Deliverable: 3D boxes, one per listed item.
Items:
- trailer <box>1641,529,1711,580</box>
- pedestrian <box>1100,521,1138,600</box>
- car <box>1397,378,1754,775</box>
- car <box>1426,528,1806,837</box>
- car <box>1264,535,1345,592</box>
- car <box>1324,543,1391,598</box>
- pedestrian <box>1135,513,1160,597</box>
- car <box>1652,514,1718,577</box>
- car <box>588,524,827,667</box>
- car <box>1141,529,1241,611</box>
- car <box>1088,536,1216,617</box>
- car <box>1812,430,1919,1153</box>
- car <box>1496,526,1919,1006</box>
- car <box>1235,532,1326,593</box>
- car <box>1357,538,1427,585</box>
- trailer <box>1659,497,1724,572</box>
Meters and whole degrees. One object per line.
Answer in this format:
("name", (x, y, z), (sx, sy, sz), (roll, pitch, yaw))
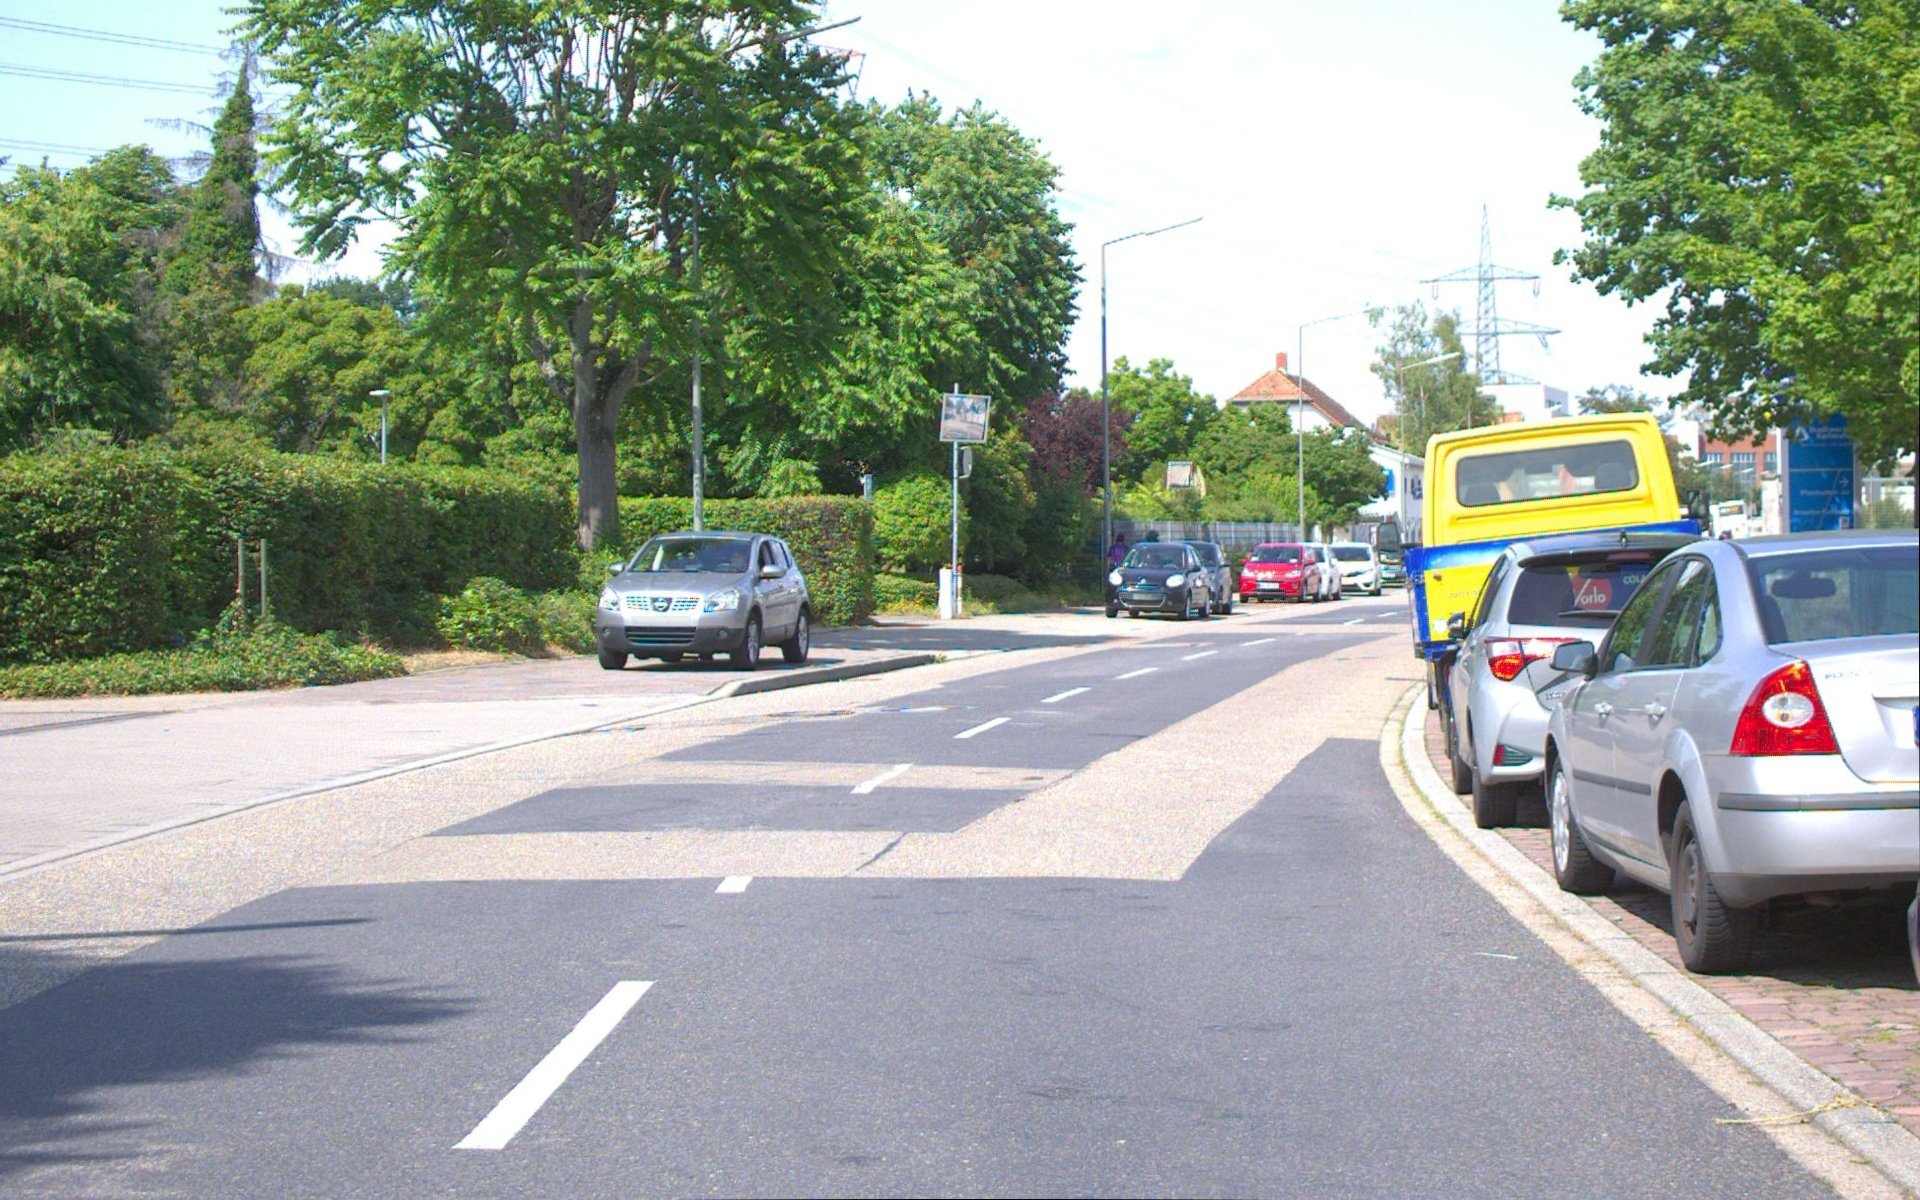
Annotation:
("trailer", (21.935, -1.377, 105.448), (1.749, 1.412, 4.548), (-3, 0, 8))
("pedestrian", (3.611, -0.894, 78.164), (0.708, 1.795, 0.915), (0, 0, 13))
("car", (4.323, -0.181, 25.072), (2.158, 2.456, 6.638), (-2, 0, 7))
("car", (3.512, 0.389, 19.012), (1.686, 1.489, 3.948), (-2, 1, 6))
("car", (9.066, -0.957, 90.327), (1.646, 1.472, 4.027), (0, 1, 13))
("car", (11.477, -0.869, 99.157), (1.621, 1.517, 4.174), (0, 1, 11))
("pedestrian", (4.265, -1.025, 78.254), (0.451, 1.887, 0.677), (0, 0, 13))
("car", (24.361, -1.830, 115.374), (1.995, 2.007, 5.646), (-1, 1, 13))
("car", (-2.897, -0.076, 40.412), (1.758, 1.568, 4.475), (1, 1, 10))
("car", (4.995, -0.664, 73.995), (1.651, 1.639, 3.272), (3, 2, 11))
("car", (3.897, -0.502, 69.187), (1.846, 1.503, 3.998), (3, 2, 13))
("car", (3.197, 0.459, 6.693), (1.850, 1.759, 5.077), (-2, 1, 1))
("car", (3.328, 0.476, 13.176), (1.832, 1.487, 4.656), (-2, 1, 1))
("car", (8.013, -0.936, 85.741), (1.667, 1.462, 3.741), (1, 1, 14))
("car", (13.933, -1.251, 110.700), (1.806, 1.414, 4.494), (2, 1, 12))
("trailer", (28.545, -2.513, 133.997), (2.205, 2.728, 6.218), (-3, 0, 13))
